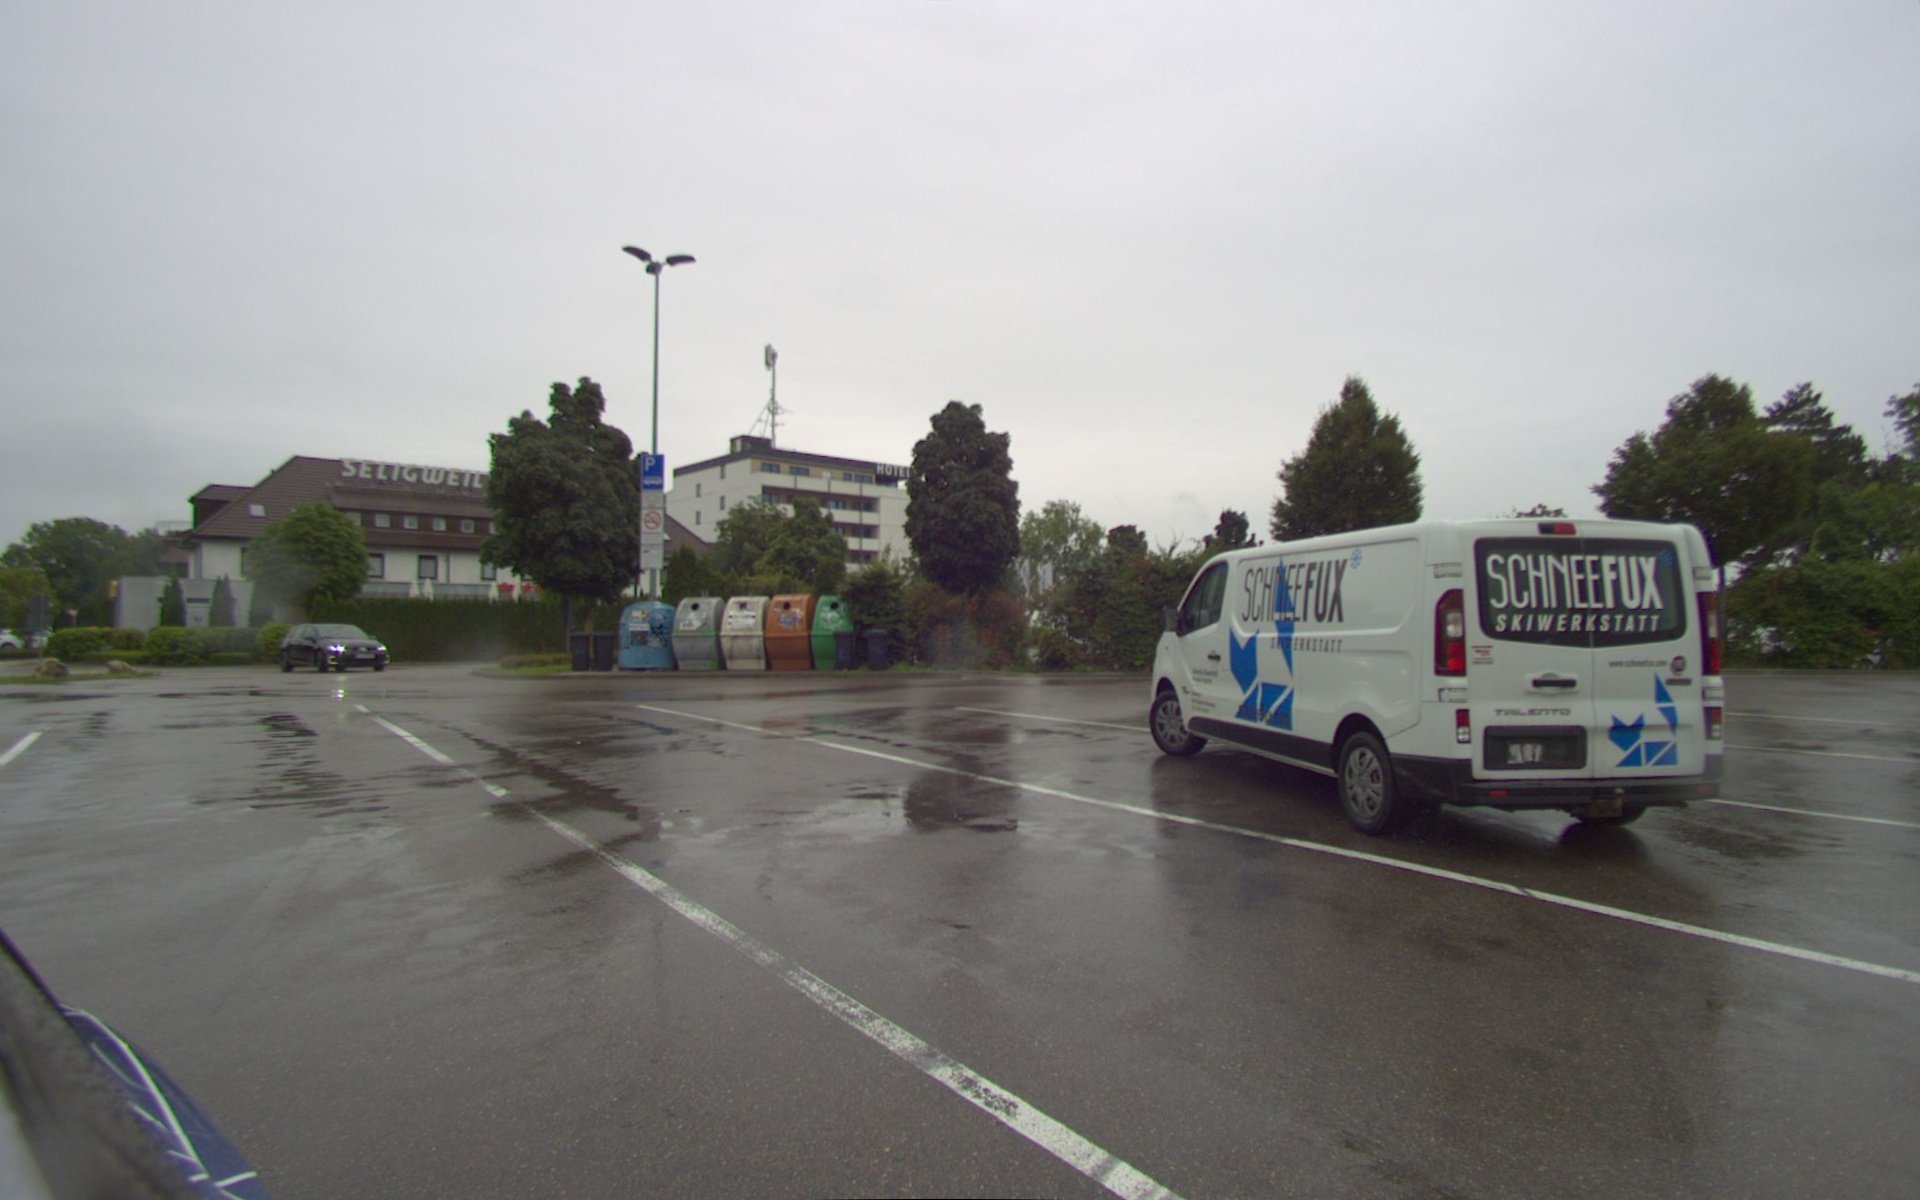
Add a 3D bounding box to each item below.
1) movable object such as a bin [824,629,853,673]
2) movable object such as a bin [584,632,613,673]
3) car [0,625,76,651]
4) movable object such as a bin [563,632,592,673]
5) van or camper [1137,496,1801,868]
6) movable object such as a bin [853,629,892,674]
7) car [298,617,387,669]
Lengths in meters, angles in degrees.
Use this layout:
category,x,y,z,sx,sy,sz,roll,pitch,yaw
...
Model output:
category,x,y,z,sx,sy,sz,roll,pitch,yaw
movable object such as a bin,-2.669,1.116,22.249,0.416,0.927,0.488,-1,-1,40
movable object such as a bin,-8.448,1.226,23.650,0.487,0.924,0.445,-1,-1,29
car,-57.495,2.355,62.688,4.125,1.509,1.720,0,-1,-42
movable object such as a bin,-8.983,1.221,23.779,0.487,0.946,0.445,-1,-1,29
van or camper,3.256,0.441,8.084,2.160,1.960,5.205,-1,0,-7
movable object such as a bin,-1.888,1.107,21.899,0.556,0.927,0.622,-1,-1,40
car,-18.684,1.259,30.541,1.751,1.444,4.085,0,-1,-39
